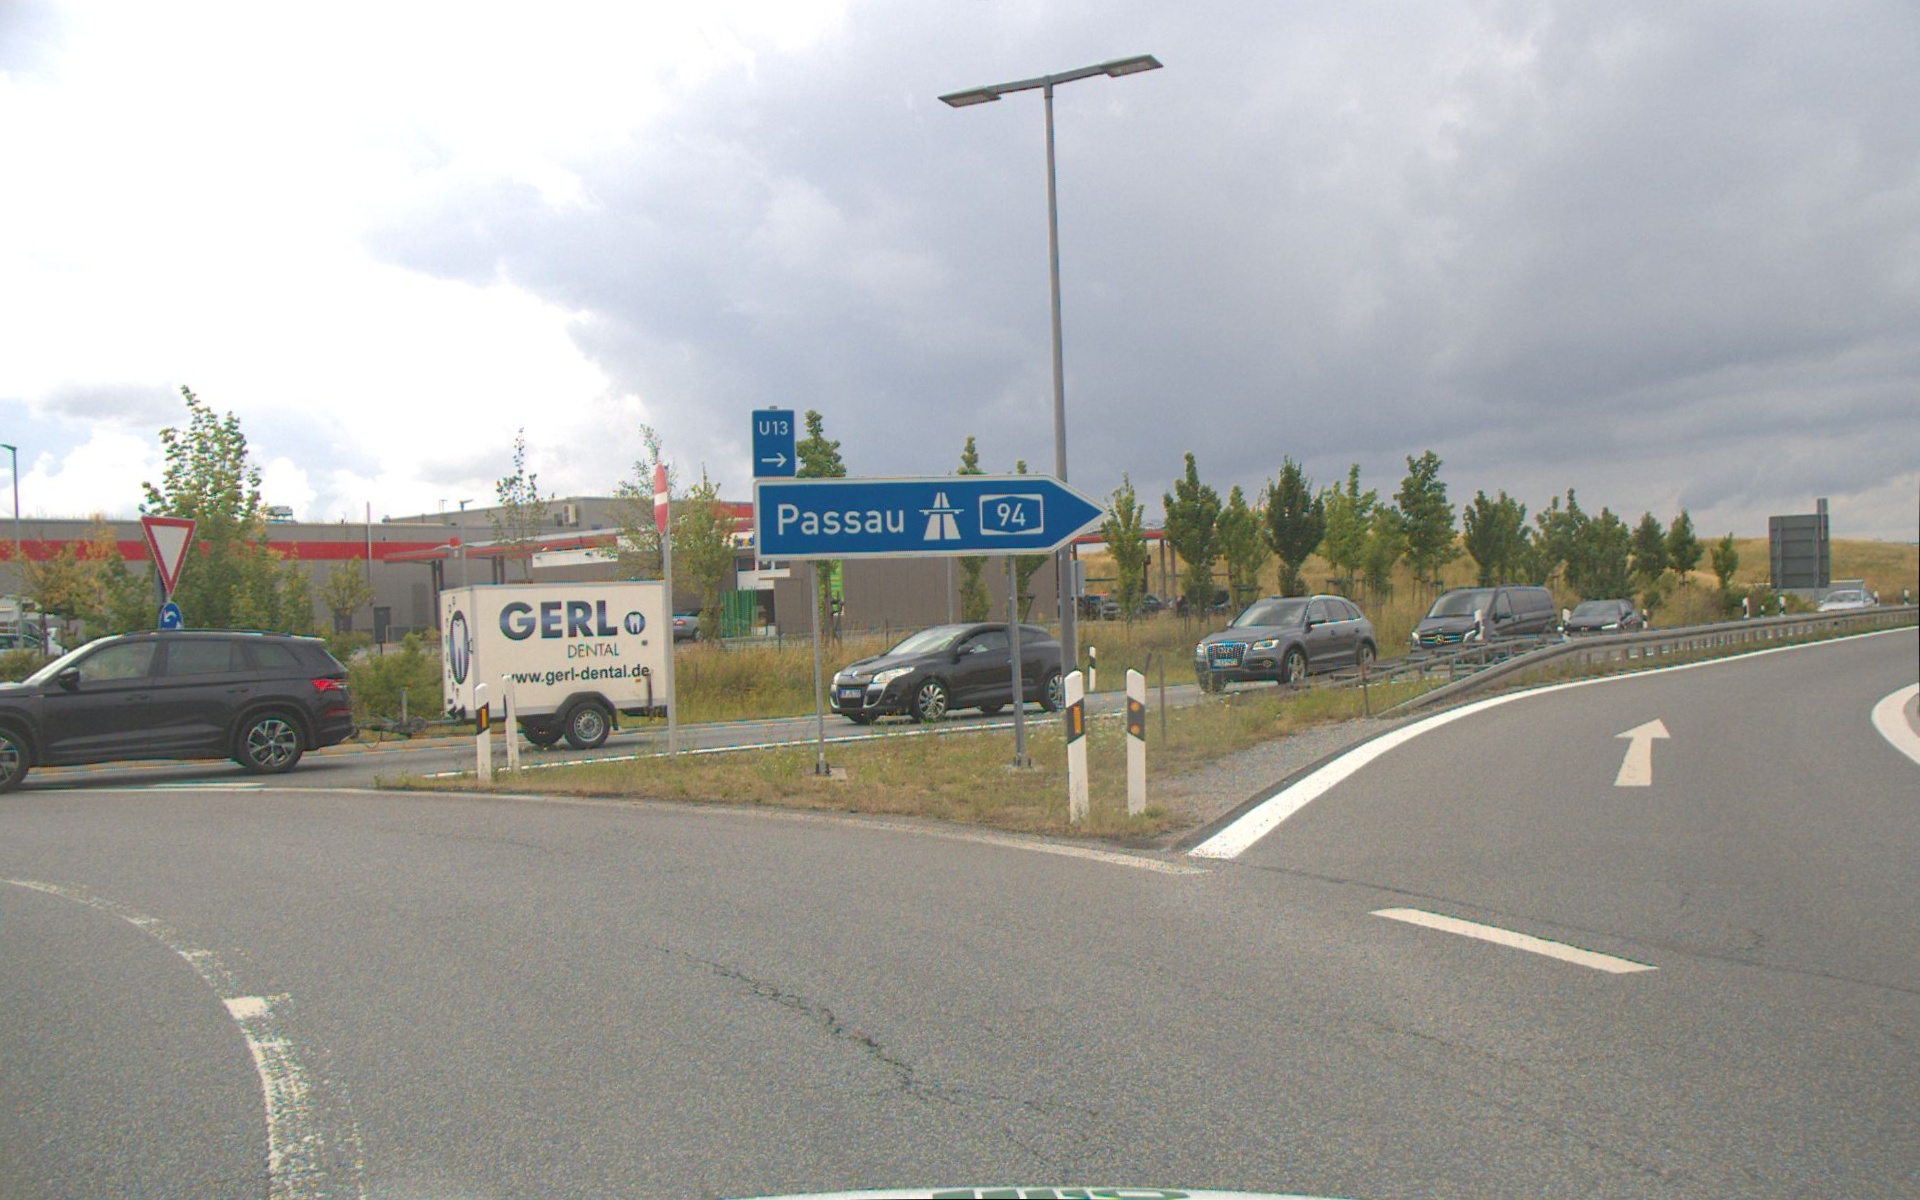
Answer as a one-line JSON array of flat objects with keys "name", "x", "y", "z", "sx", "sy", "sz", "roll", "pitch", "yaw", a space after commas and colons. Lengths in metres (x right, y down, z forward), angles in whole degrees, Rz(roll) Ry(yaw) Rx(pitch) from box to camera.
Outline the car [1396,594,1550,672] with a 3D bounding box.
[{"name": "car", "x": 12.325, "y": 0.773, "z": 39.555, "sx": 1.962, "sy": 1.713, "sz": 4.570, "roll": -3, "pitch": -2, "yaw": 38}]

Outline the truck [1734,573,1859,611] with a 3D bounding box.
[{"name": "truck", "x": 114.189, "y": -1.054, "z": 225.961, "sx": 14.994, "sy": 5.047, "sz": 3.442, "roll": 0, "pitch": 0, "yaw": 30}]

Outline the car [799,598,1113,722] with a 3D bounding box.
[{"name": "car", "x": -0.002, "y": 0.874, "z": 25.265, "sx": 4.545, "sy": 1.713, "sz": 1.973, "roll": 0, "pitch": -2, "yaw": -38}]

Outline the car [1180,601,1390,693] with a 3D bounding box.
[{"name": "car", "x": 6.020, "y": 0.802, "z": 30.299, "sx": 1.705, "sy": 1.517, "sz": 4.514, "roll": 0, "pitch": 0, "yaw": 42}]

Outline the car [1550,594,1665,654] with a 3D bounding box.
[{"name": "car", "x": 19.715, "y": 0.719, "z": 50.240, "sx": 1.962, "sy": 1.713, "sz": 4.570, "roll": -3, "pitch": -2, "yaw": 38}]

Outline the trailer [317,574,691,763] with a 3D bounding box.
[{"name": "trailer", "x": -5.877, "y": 0.792, "z": 21.440, "sx": 4.316, "sy": 2.222, "sz": 1.978, "roll": 0, "pitch": 0, "yaw": -32}]

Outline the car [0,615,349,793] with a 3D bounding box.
[{"name": "car", "x": -9.577, "y": 1.135, "z": 18.938, "sx": 4.616, "sy": 1.790, "sz": 1.981, "roll": -1, "pitch": -1, "yaw": -29}]

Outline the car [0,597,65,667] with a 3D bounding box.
[{"name": "car", "x": -41.363, "y": 1.338, "z": 68.145, "sx": 2.422, "sy": 2.869, "sz": 7.658, "roll": 0, "pitch": 0, "yaw": 37}]

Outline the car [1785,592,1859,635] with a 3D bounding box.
[{"name": "car", "x": 36.916, "y": 0.579, "z": 70.804, "sx": 1.962, "sy": 1.713, "sz": 4.570, "roll": -3, "pitch": -2, "yaw": 38}]
